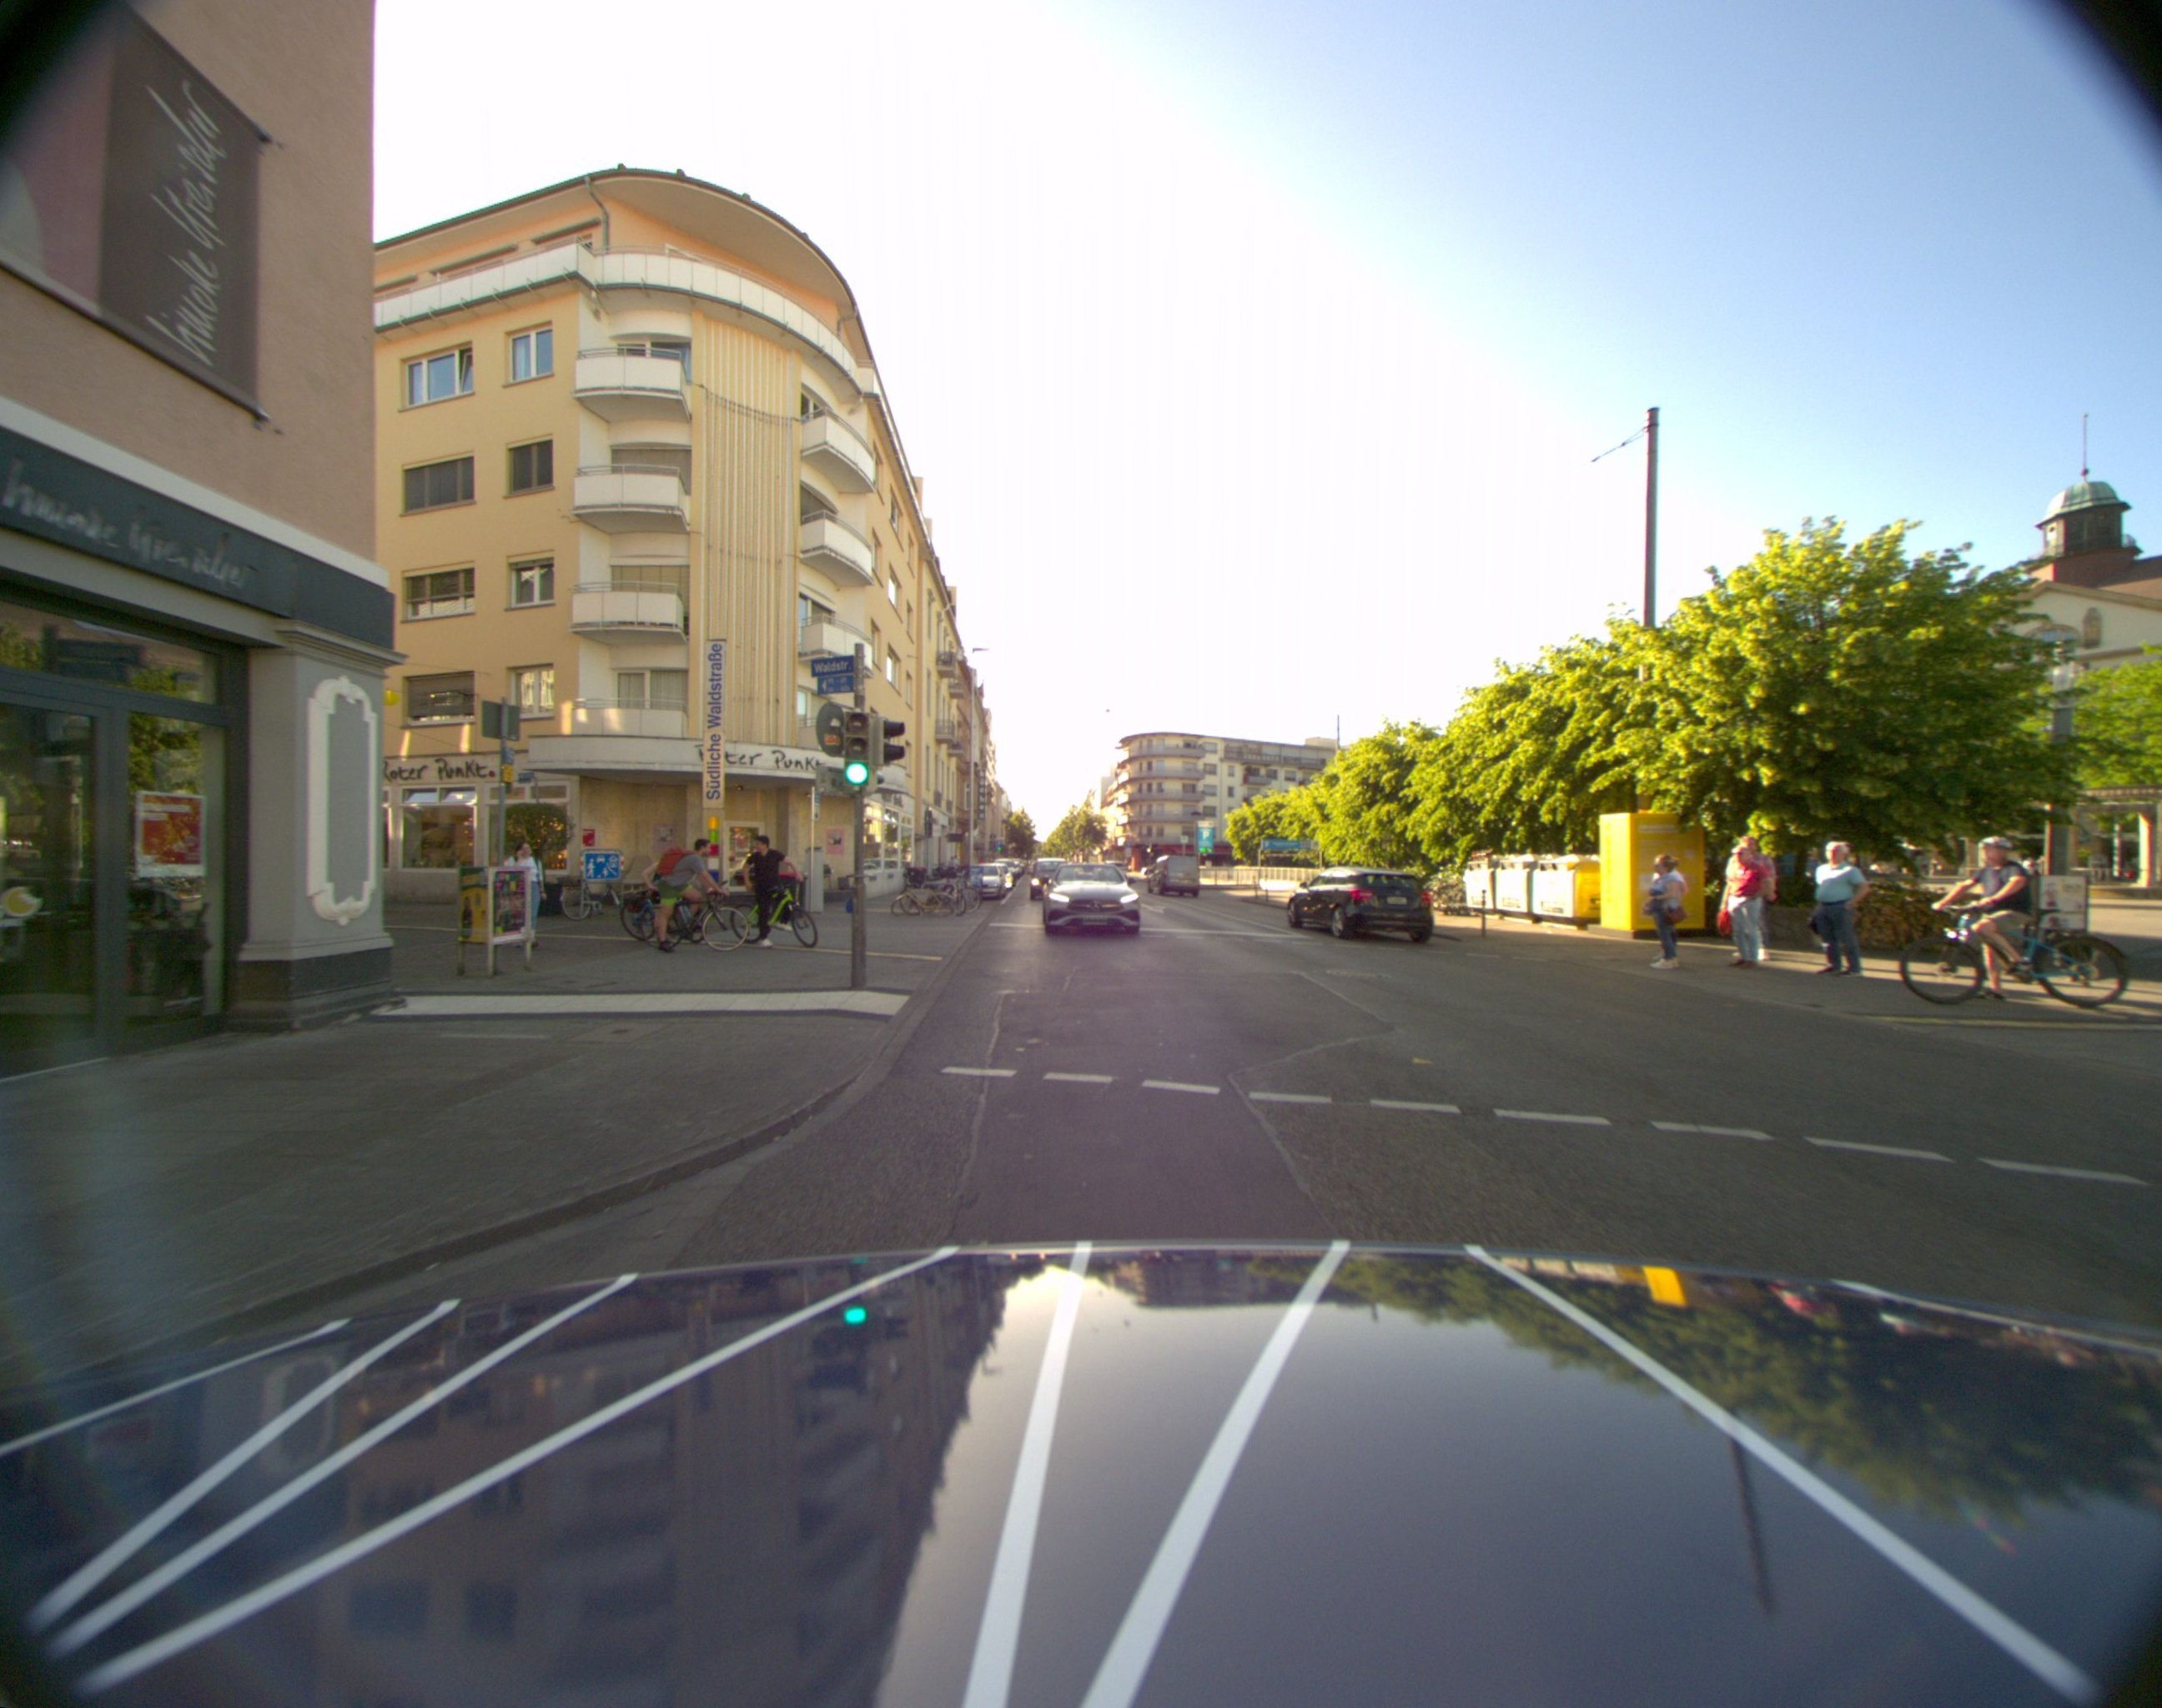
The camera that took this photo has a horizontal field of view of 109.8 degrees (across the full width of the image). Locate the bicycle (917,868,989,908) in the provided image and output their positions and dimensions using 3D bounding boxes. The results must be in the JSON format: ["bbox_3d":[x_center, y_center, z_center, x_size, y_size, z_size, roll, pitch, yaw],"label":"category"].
[{"bbox_3d":[-3.841,1.013,22.868,2.027,1.143,0.715,1,0,-3],"label":"bicycle"}]

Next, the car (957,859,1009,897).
[{"bbox_3d":[-3.843,0.915,30.364,1.693,1.390,3.999,0,0,-2],"label":"car"}]

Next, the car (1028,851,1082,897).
[{"bbox_3d":[-1.074,0.772,30.476,1.999,1.717,3.999,0,0,-3],"label":"car"}]

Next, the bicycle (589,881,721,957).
[{"bbox_3d":[-6.776,1.001,12.102,1.916,1.090,0.734,0,0,18],"label":"bicycle"}]

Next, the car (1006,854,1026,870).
[{"bbox_3d":[-7.106,0.834,83.225,1.999,1.717,3.999,0,0,-3],"label":"car"}]

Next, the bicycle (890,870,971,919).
[{"bbox_3d":[-3.792,1.020,19.299,1.947,1.205,0.932,1,0,-9],"label":"bicycle"}]

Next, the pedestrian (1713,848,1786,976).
[{"bbox_3d":[9.825,0.817,11.171,0.781,1.801,0.590,0,0,43],"label":"pedestrian"}]

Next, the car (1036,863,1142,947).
[{"bbox_3d":[0.098,0.975,16.222,1.910,1.453,4.363,-2,0,-1],"label":"car"}]

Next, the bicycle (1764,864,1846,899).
[{"bbox_3d":[24.730,0.919,26.026,0.941,1.126,2.482,0,0,15],"label":"bicycle"}]

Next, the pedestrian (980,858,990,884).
[{"bbox_3d":[-7.039,1.243,55.713,0.695,1.895,0.905,0,0,-6],"label":"pedestrian"}]

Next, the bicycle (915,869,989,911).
[{"bbox_3d":[-3.639,1.012,21.566,1.962,1.150,0.755,1,0,-3],"label":"bicycle"}]

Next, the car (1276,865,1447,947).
[{"bbox_3d":[5.707,0.991,16.090,1.754,1.415,4.253,1,0,-4],"label":"car"}]

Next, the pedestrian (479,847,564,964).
[{"bbox_3d":[-8.286,0.725,11.253,0.813,1.649,0.768,0,0,33],"label":"pedestrian"}]

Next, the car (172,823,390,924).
[{"bbox_3d":[-21.262,0.456,20.234,4.686,2.455,2.071,0,2,18],"label":"car"}]

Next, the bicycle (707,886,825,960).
[{"bbox_3d":[-5.001,1.059,12.048,1.910,1.014,0.561,1,1,24],"label":"bicycle"}]

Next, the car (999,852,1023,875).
[{"bbox_3d":[-6.081,0.804,66.641,1.999,2.002,4.190,0,0,-4],"label":"car"}]

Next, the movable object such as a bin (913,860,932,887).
[{"bbox_3d":[-7.501,0.914,35.995,0.703,1.232,0.960,0,0,-3],"label":"movable object such as a bin"}]

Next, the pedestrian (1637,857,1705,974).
[{"bbox_3d":[8.729,0.882,11.274,0.686,1.664,0.698,0,0,28],"label":"pedestrian"}]

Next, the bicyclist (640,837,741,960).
[{"bbox_3d":[-5.764,0.641,11.270,1.141,1.751,0.753,0,0,-6],"label":"bicyclist"}]

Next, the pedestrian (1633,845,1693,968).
[{"bbox_3d":[9.074,0.788,11.866,0.650,1.846,0.626,0,0,28],"label":"pedestrian"}]

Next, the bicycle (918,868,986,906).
[{"bbox_3d":[-4.044,1.027,23.927,2.050,1.174,0.683,1,0,-3],"label":"bicycle"}]

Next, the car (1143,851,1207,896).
[{"bbox_3d":[4.365,0.873,36.067,1.999,1.935,4.781,3,0,-4],"label":"car"}]

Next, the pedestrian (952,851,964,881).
[{"bbox_3d":[-7.739,0.742,47.914,0.695,1.895,0.905,0,0,-6],"label":"pedestrian"}]

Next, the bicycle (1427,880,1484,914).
[{"bbox_3d":[11.236,1.279,22.822,1.560,0.996,0.364,0,0,-4],"label":"bicycle"}]

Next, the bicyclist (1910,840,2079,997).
[{"bbox_3d":[10.134,0.673,8.483,0.803,1.639,0.995,0,0,19],"label":"bicyclist"}]

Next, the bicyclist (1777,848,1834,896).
[{"bbox_3d":[24.707,0.606,25.936,0.941,1.599,1.171,0,0,15],"label":"bicyclist"}]

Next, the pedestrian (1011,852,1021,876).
[{"bbox_3d":[-5.350,0.820,62.527,0.610,1.912,0.714,0,0,9],"label":"pedestrian"}]

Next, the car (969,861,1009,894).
[{"bbox_3d":[-4.206,1.035,35.082,1.742,1.417,3.998,0,0,-6],"label":"car"}]

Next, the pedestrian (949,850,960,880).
[{"bbox_3d":[-8.090,0.715,48.639,0.673,1.942,0.614,0,0,-6],"label":"pedestrian"}]

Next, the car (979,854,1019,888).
[{"bbox_3d":[-4.390,0.886,40.957,1.999,1.724,4.197,0,0,-5],"label":"car"}]

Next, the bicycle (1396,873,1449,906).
[{"bbox_3d":[11.110,1.149,24.721,1.529,1.025,0.364,0,0,11],"label":"bicycle"}]

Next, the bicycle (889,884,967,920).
[{"bbox_3d":[-3.756,1.175,18.735,1.848,0.826,0.741,1,0,-9],"label":"bicycle"}]

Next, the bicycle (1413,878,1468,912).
[{"bbox_3d":[11.012,1.261,23.294,1.550,1.025,0.364,0,0,-4],"label":"bicycle"}]

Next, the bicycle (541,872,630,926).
[{"bbox_3d":[-11.003,0.973,16.948,0.560,1.082,1.751,0,0,13],"label":"bicycle"}]

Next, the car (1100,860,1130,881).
[{"bbox_3d":[2.683,1.265,60.906,1.847,1.538,4.238,2,0,-4],"label":"car"}]

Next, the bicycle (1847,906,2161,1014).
[{"bbox_3d":[10.188,1.155,8.482,2.171,1.065,0.765,-2,0,18],"label":"bicycle"}]

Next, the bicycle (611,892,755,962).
[{"bbox_3d":[-5.892,1.067,11.305,1.821,0.988,0.564,0,0,-4],"label":"bicycle"}]

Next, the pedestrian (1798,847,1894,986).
[{"bbox_3d":[10.401,0.813,10.346,0.590,1.801,0.782,0,0,-29],"label":"pedestrian"}]

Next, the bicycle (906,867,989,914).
[{"bbox_3d":[-3.548,0.969,20.302,2.143,1.237,0.710,1,0,-8],"label":"bicycle"}]

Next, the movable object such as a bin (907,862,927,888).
[{"bbox_3d":[-7.386,0.946,34.231,0.703,1.153,0.960,0,0,-3],"label":"movable object such as a bin"}]

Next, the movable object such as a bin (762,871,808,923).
[{"bbox_3d":[-6.577,0.947,16.904,0.810,1.106,0.620,0,0,-5],"label":"movable object such as a bin"}]

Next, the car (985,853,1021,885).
[{"bbox_3d":[-4.897,0.903,47.142,2.000,1.867,3.997,0,0,-9],"label":"car"}]

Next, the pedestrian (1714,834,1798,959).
[{"bbox_3d":[10.617,0.649,11.975,0.609,1.907,0.784,0,0,-1],"label":"pedestrian"}]

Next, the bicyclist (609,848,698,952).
[{"bbox_3d":[-6.779,0.703,12.060,1.028,1.574,0.727,0,0,19],"label":"bicyclist"}]

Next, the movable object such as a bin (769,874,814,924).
[{"bbox_3d":[-6.643,1.029,17.443,0.810,1.106,0.620,0,1,-5],"label":"movable object such as a bin"}]

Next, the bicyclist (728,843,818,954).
[{"bbox_3d":[-4.836,0.669,11.939,1.129,1.675,0.727,0,0,24],"label":"bicyclist"}]
